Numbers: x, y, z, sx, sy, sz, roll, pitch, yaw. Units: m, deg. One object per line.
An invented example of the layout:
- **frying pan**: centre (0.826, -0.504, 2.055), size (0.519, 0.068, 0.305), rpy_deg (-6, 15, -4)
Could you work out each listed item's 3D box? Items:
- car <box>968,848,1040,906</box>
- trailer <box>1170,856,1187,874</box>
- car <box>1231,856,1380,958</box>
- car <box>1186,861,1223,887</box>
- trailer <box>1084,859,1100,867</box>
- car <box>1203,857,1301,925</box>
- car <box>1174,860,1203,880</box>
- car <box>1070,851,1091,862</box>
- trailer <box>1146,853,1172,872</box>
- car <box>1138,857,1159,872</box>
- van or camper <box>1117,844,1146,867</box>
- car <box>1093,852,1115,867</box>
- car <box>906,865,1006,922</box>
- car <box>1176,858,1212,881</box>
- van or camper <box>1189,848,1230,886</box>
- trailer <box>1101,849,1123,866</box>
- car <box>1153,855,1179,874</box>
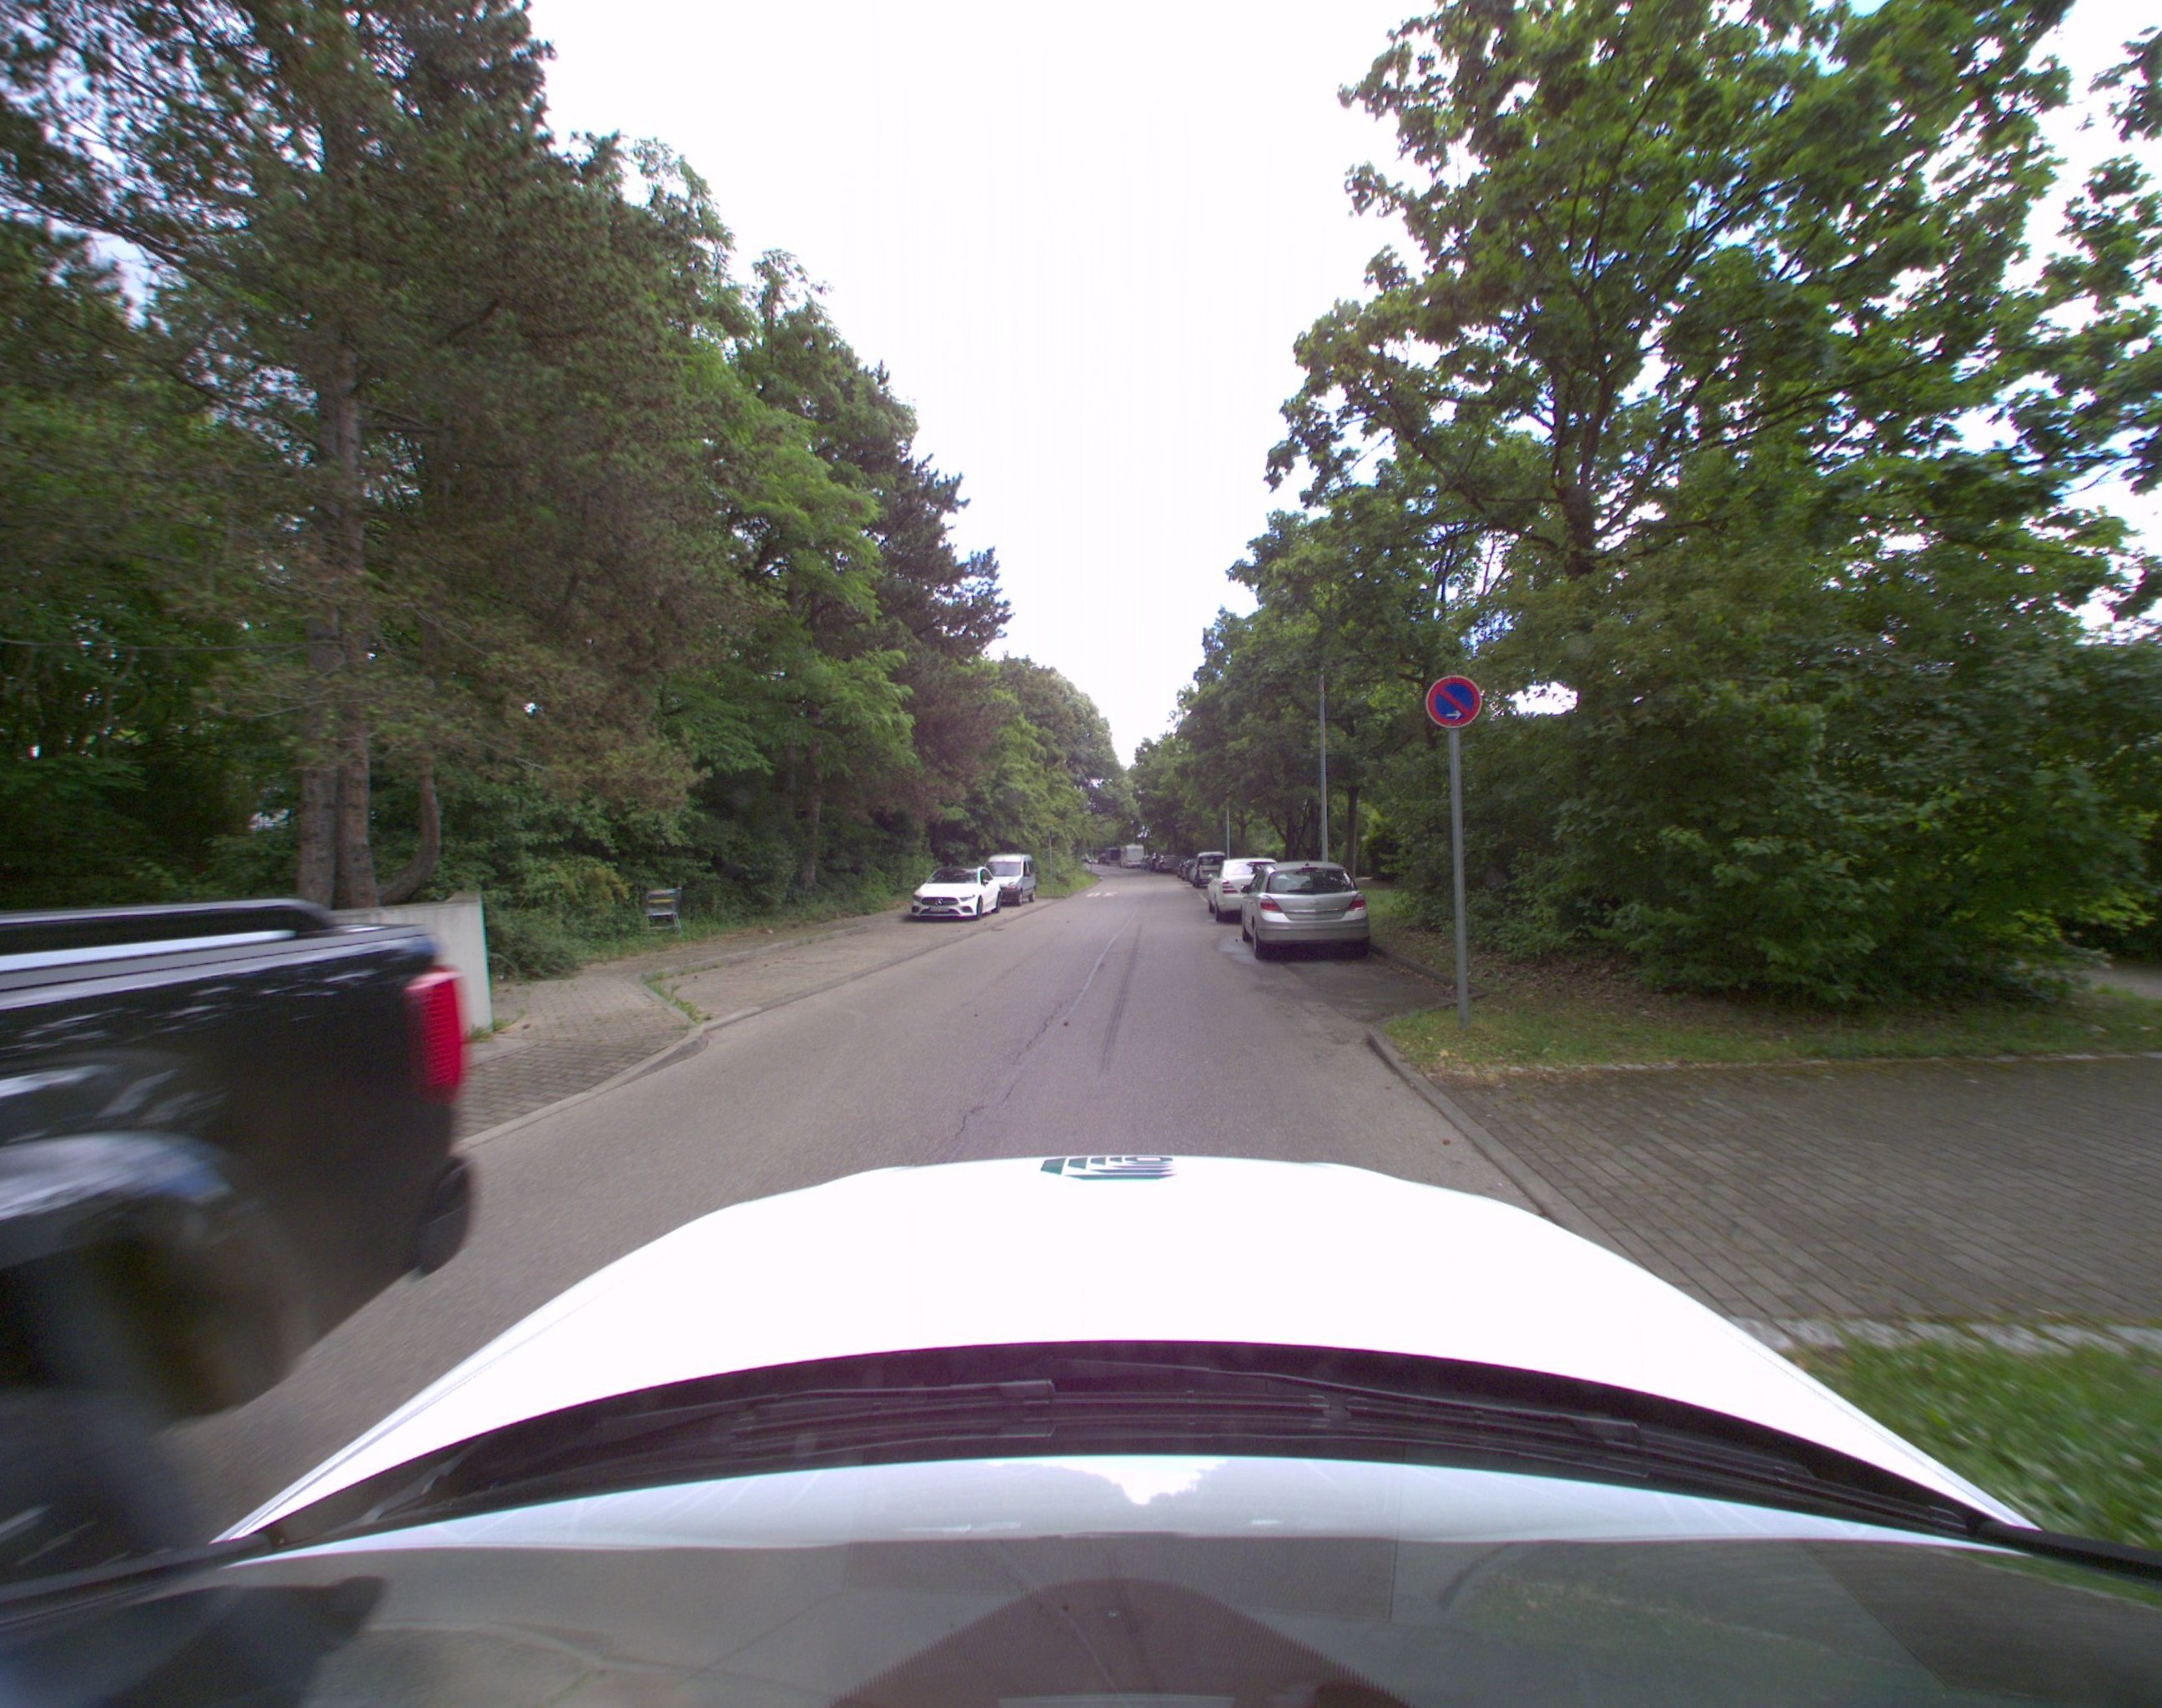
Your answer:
- **car**: centre (-2.717, 0.768, 29.690), size (1.711, 1.921, 4.113), rpy_deg (1, 0, 7)
- **trailer**: centre (8.647, 0.942, 72.420), size (1.274, 1.585, 2.460), rpy_deg (-1, 0, 1)
- **car**: centre (3.596, 0.785, 13.752), size (1.783, 1.411, 4.066), rpy_deg (-2, -1, 7)
- **car**: centre (7.282, 1.151, 48.288), size (1.804, 1.437, 4.247), rpy_deg (0, 0, 4)
- **trailer**: centre (1.673, 1.298, 124.610), size (1.653, 1.086, 3.983), rpy_deg (-4, 1, -12)
- **car**: centre (4.281, 0.853, 21.173), size (1.877, 1.507, 5.183), rpy_deg (-2, -1, 5)
- **car**: centre (8.128, 1.186, 61.626), size (1.715, 1.453, 3.917), rpy_deg (-1, -1, 1)
- **car**: centre (-0.121, 0.411, 133.734), size (2.042, 1.803, 4.055), rpy_deg (-2, 0, -20)
- **trailer**: centre (8.112, 0.855, 85.036), size (1.974, 1.811, 5.144), rpy_deg (-2, 0, -2)
- **car**: centre (7.798, 1.212, 94.355), size (1.797, 1.562, 3.829), rpy_deg (-2, 0, -5)
- **van or camper**: centre (6.416, 0.199, 104.746), size (2.479, 2.876, 6.873), rpy_deg (-1, 0, -7)
- **car**: centre (3.362, 0.828, 120.824), size (1.998, 2.025, 3.979), rpy_deg (-4, 2, -15)
- **car**: centre (-3.415, 1.042, 23.100), size (1.797, 1.403, 4.377), rpy_deg (0, 0, 5)
- **car**: centre (7.590, 1.006, 55.144), size (1.841, 1.474, 4.478), rpy_deg (-1, -1, 0)
- **van or camper**: centre (6.649, 0.713, 42.469), size (1.793, 1.838, 4.325), rpy_deg (-1, -2, 5)
- **trailer**: centre (4.372, 0.511, 115.425), size (1.997, 2.398, 3.980), rpy_deg (-1, 0, -15)
- **car**: centre (8.192, 1.041, 78.878), size (1.788, 1.670, 4.495), rpy_deg (-2, -2, -4)
